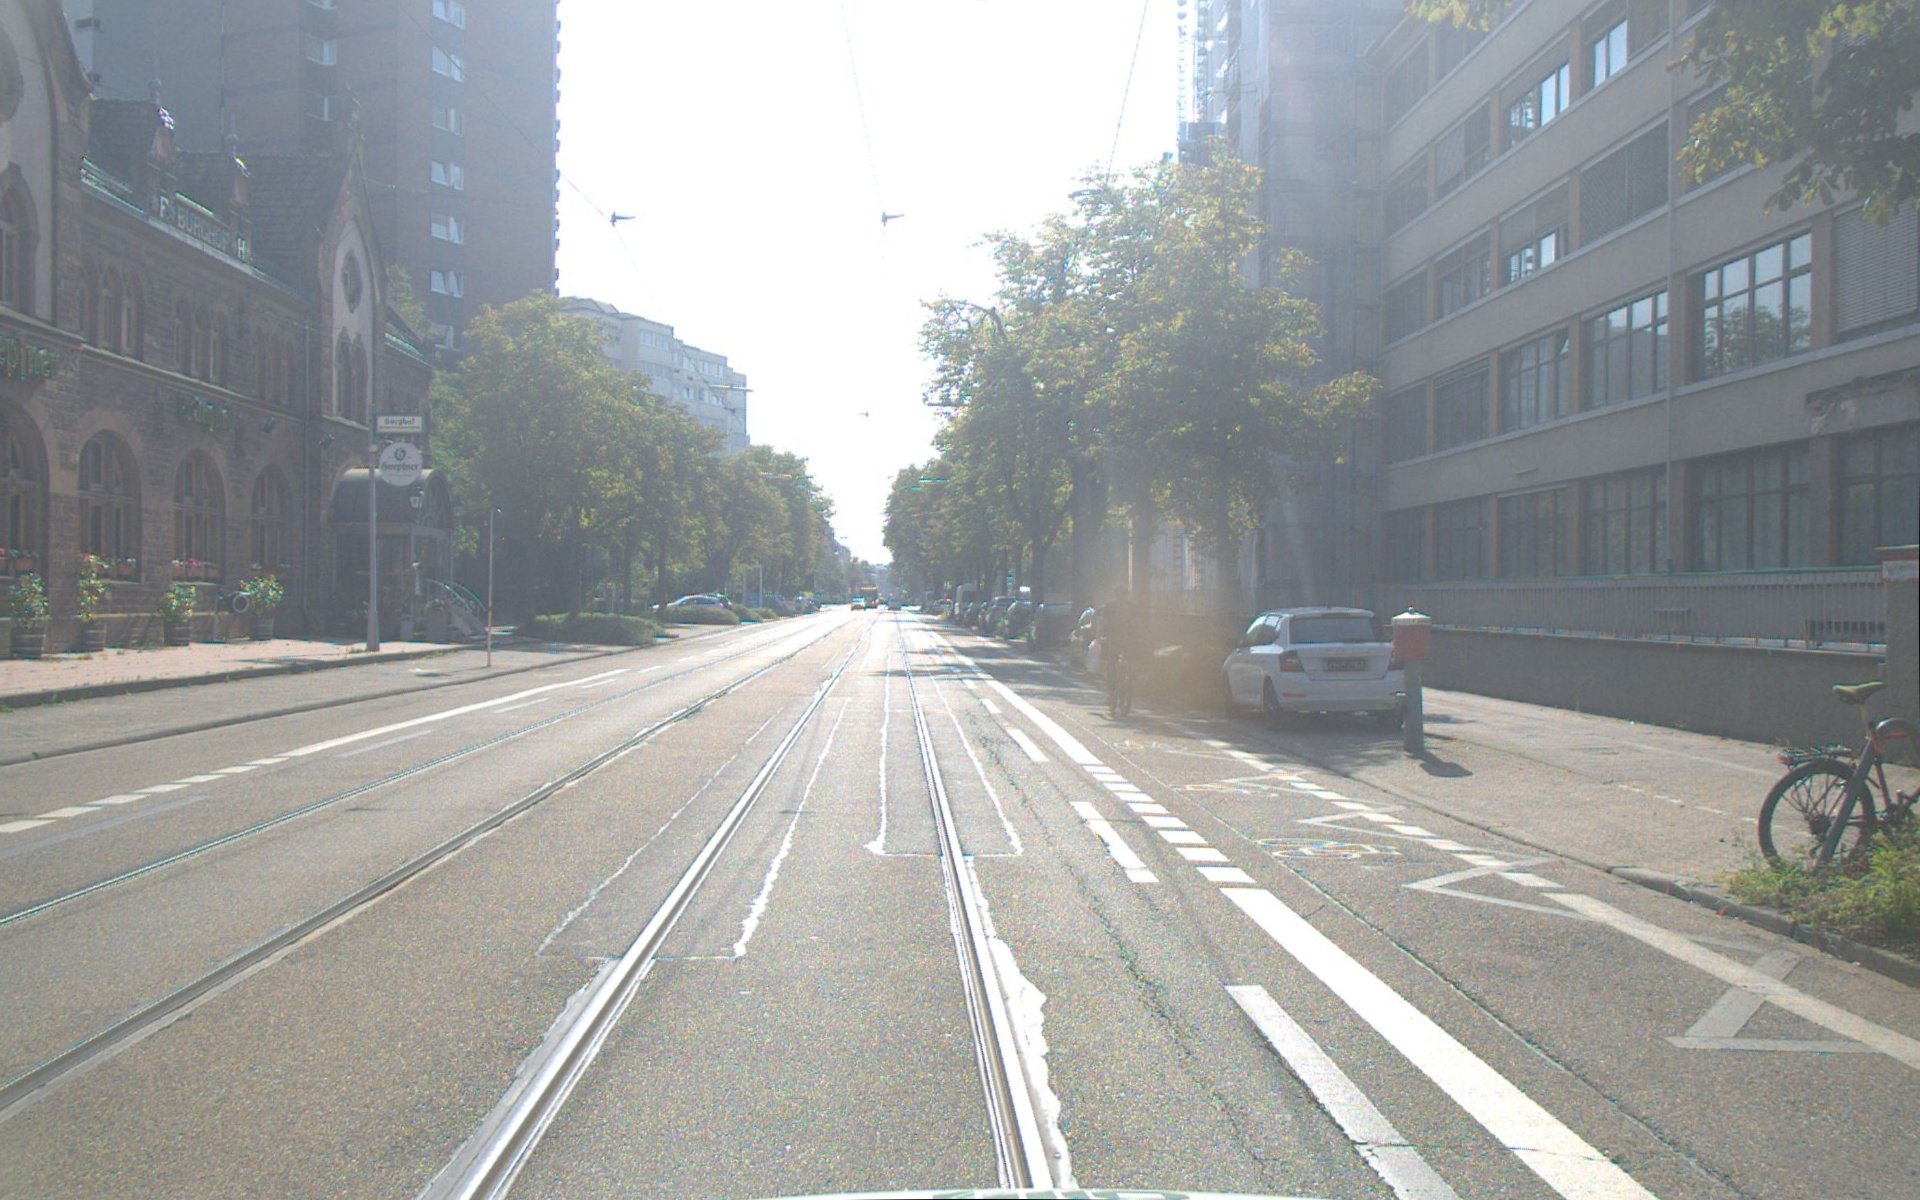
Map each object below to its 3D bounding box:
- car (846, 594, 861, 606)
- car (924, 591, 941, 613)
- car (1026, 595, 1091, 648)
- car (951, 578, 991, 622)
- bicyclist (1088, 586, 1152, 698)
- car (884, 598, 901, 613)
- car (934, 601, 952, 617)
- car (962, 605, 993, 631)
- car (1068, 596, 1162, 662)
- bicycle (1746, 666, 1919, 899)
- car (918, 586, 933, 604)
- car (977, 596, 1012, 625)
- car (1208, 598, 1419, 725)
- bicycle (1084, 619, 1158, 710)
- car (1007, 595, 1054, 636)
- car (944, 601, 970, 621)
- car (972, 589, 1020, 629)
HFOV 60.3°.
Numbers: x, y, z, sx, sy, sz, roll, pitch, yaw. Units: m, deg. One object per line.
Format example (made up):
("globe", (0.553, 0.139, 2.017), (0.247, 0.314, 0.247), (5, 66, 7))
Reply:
("car", (-12.858, -0.014, 199.641), (1.792, 1.400, 4.510), (-1, 0, -3))
("car", (-3.331, 0.214, 199.913), (1.964, 2.534, 4.475), (0, -1, -2))
("car", (3.025, 0.637, 51.397), (1.613, 1.537, 3.776), (-2, 0, -2))
("car", (0.673, -0.006, 105.511), (2.041, 2.597, 5.497), (-3, 0, -4))
("bicyclist", (2.186, 0.565, 22.698), (0.771, 1.495, 1.116), (0, 0, -1))
("car", (-8.445, 0.701, 207.096), (1.953, 1.870, 3.999), (0, 0, -1))
("car", (-1.656, 0.865, 157.894), (1.655, 1.443, 3.633), (0, 0, -2))
("car", (0.959, 1.026, 95.252), (1.584, 1.398, 4.825), (-1, 0, -2))
("car", (3.649, 0.662, 39.563), (1.613, 1.453, 4.082), (-1, 0, -3))
("bicycle", (5.130, 0.899, 8.558), (1.734, 1.082, 0.795), (-2, 0, -5))
("car", (-4.719, -0.686, 226.694), (1.964, 2.518, 4.475), (0, 0, -2))
("car", (1.746, 0.518, 85.120), (1.584, 1.438, 3.998), (-1, 0, -2))
("car", (4.460, 0.733, 21.440), (1.608, 1.455, 3.985), (-1, 0, -4))
("bicycle", (2.180, 0.850, 22.704), (0.771, 1.164, 2.304), (0, 0, -1))
("car", (2.715, 0.587, 64.259), (1.544, 1.510, 3.737), (-2, 0, -2))
("car", (-0.228, 0.803, 124.610), (1.718, 1.402, 4.716), (-2, 0, -2))
("car", (1.581, 0.384, 74.385), (1.719, 1.721, 4.392), (1, 0, -4))
